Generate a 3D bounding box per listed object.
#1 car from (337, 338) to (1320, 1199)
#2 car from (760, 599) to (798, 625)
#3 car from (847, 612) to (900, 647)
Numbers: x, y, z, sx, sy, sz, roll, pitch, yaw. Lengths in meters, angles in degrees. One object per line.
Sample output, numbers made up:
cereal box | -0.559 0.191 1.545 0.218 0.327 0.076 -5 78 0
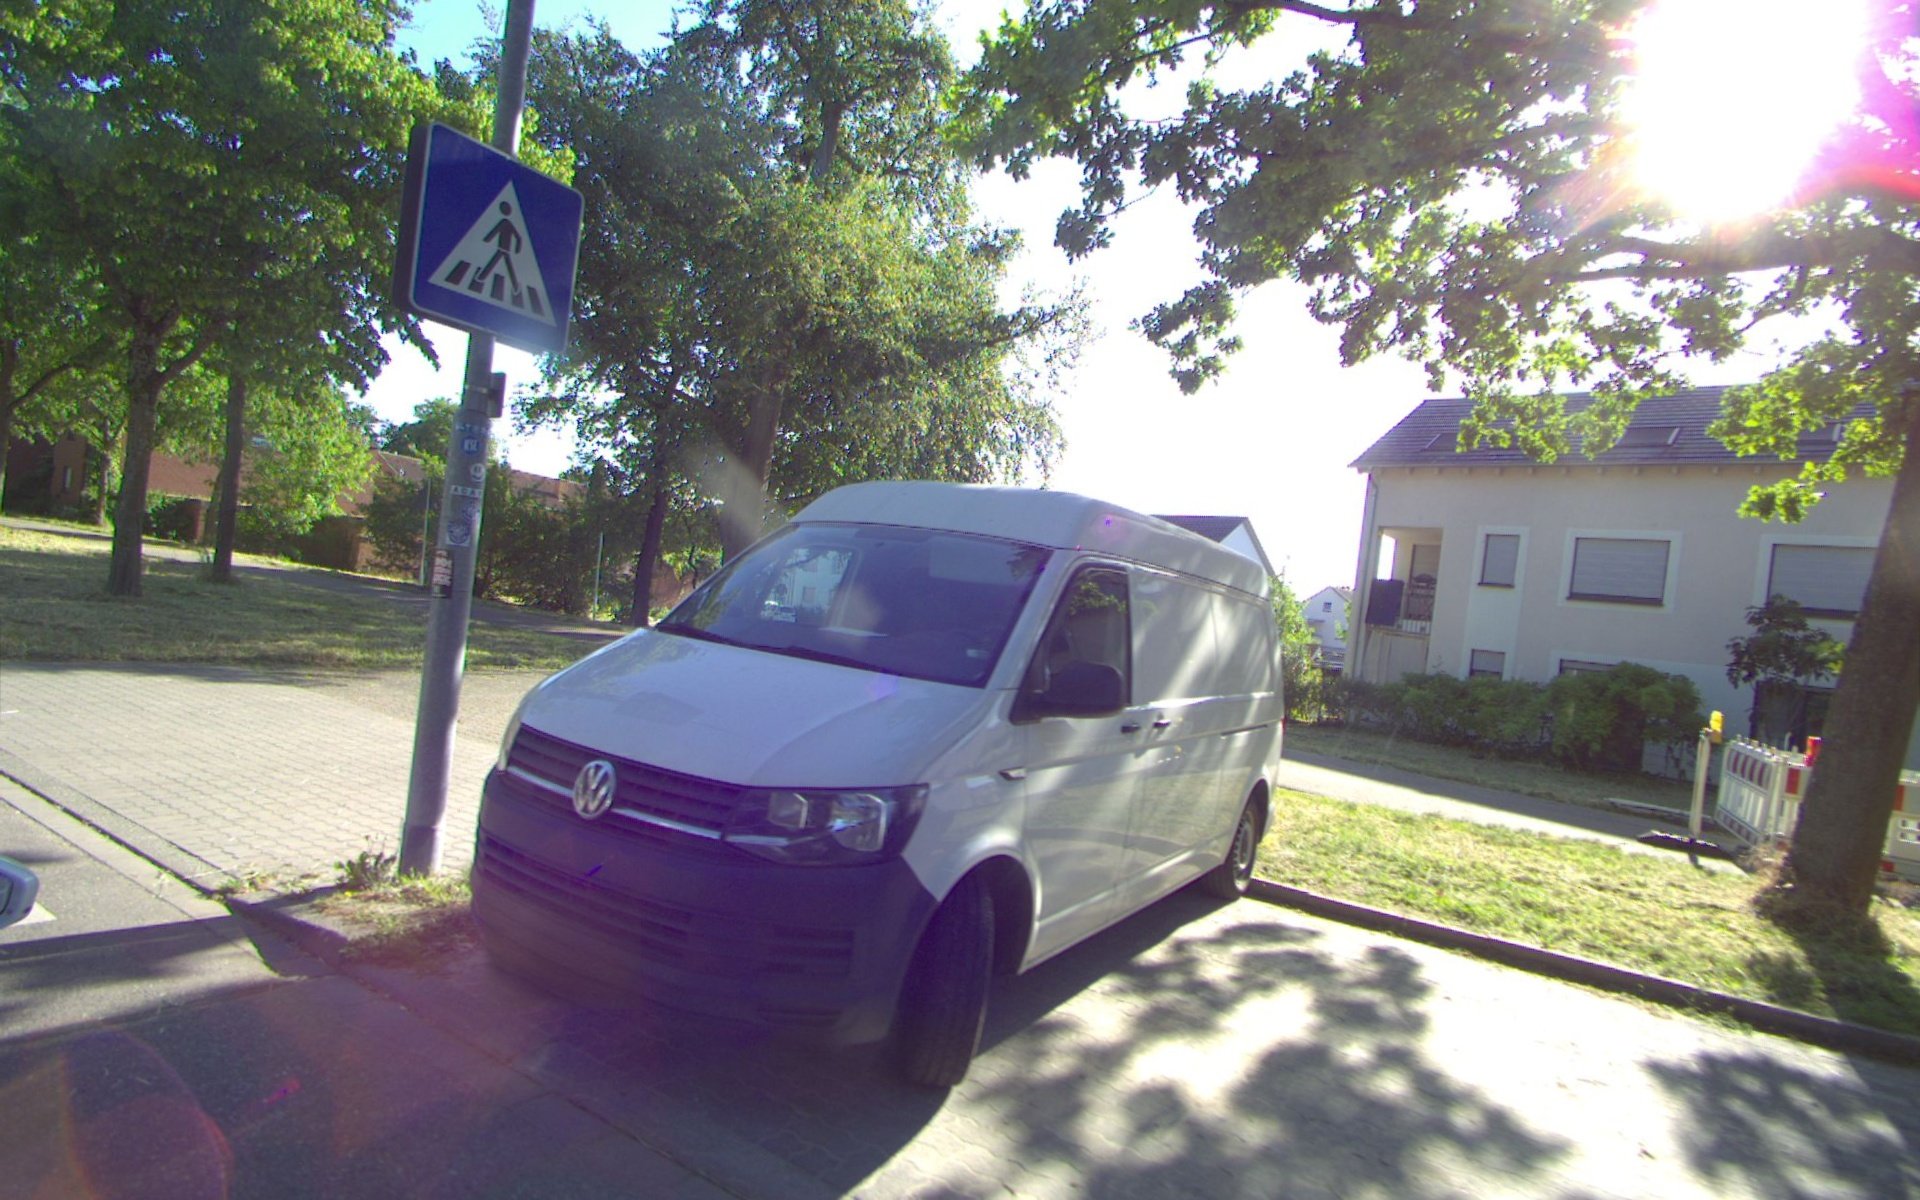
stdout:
car | 0.169 0.528 5.123 2.047 2.131 5.195 7 0 30
car | -13.153 0.853 72.948 1.716 1.574 3.446 8 -1 -25
car | -4.880 1.627 56.269 1.716 1.574 3.446 8 -1 -25
